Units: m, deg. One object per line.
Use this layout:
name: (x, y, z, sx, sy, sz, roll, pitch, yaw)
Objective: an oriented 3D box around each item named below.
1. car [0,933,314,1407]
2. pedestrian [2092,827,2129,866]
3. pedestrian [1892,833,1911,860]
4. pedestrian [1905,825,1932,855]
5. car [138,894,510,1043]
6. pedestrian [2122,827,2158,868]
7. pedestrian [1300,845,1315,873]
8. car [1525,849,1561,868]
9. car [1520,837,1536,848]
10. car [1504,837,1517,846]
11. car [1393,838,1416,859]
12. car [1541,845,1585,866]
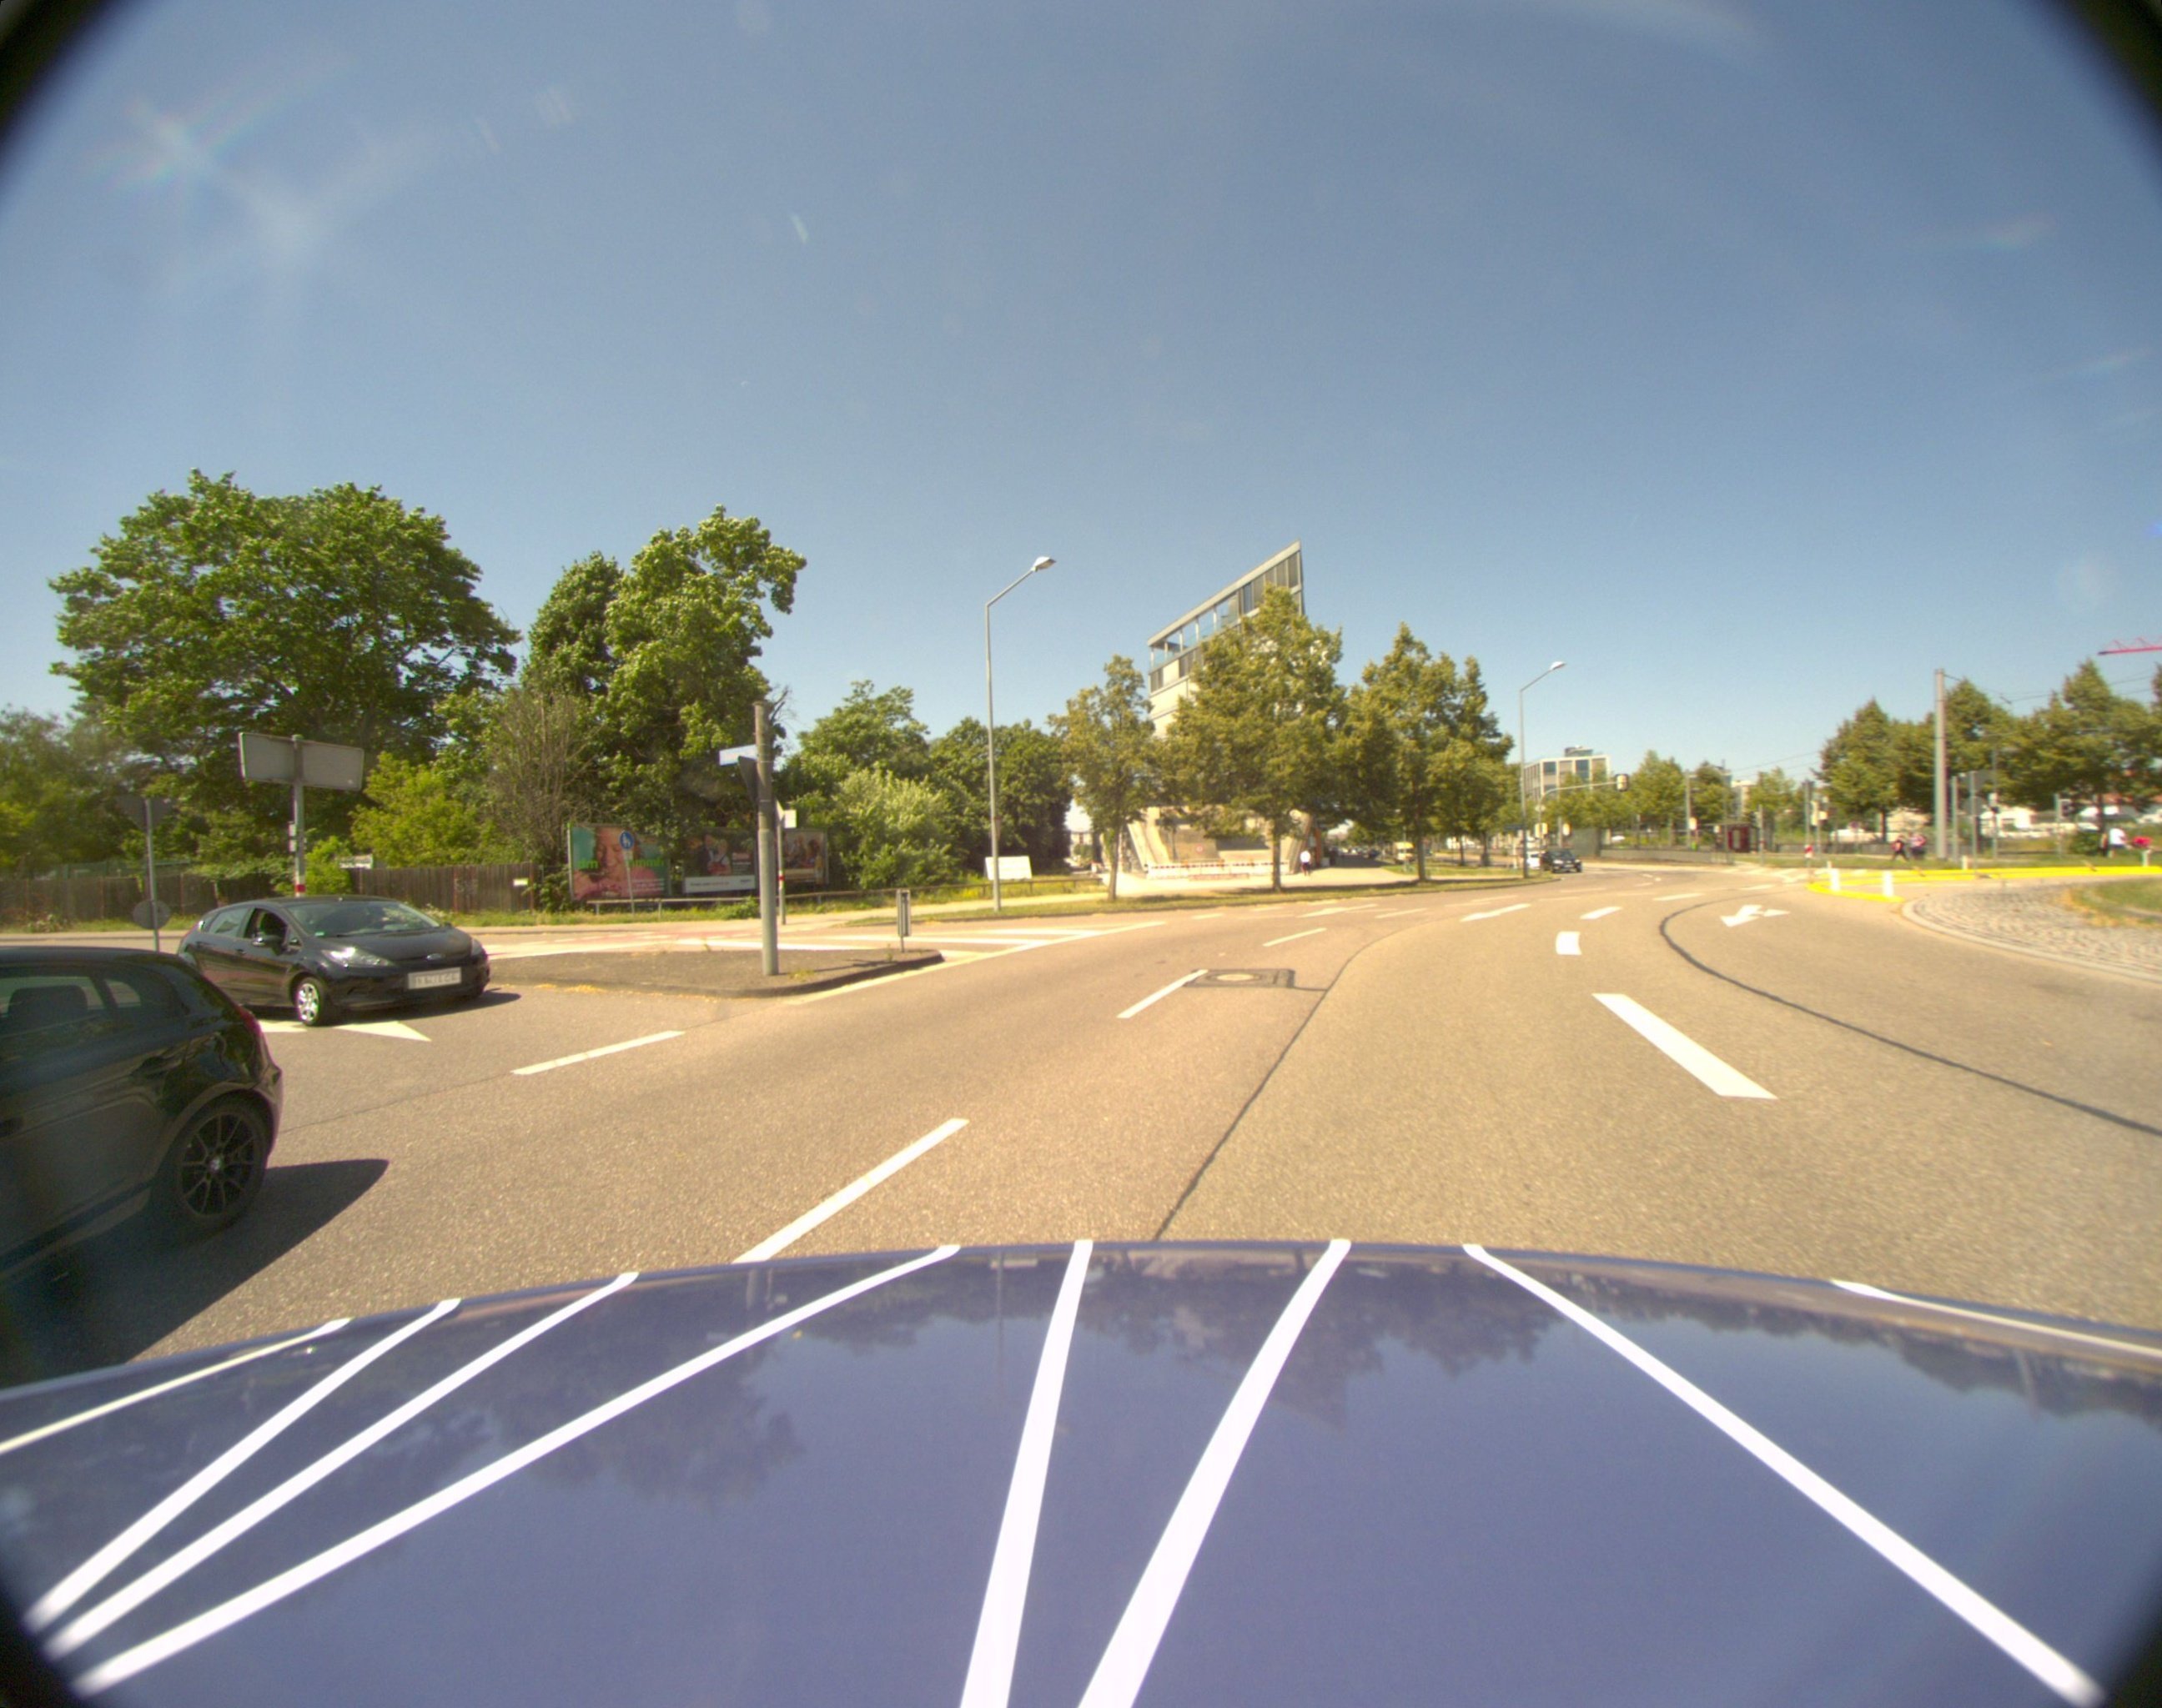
car: (-4.321, 1.145, 1.723, 1.804, 1.432, 3.995, -3, 0, -15)
pedestrian: (50.814, -0.369, 37.506, 0.812, 1.888, 0.733, 0, 3, 29)
pedestrian: (44.515, -0.404, 41.231, 0.596, 1.398, 0.544, -2, 1, 37)
pedestrian: (46.238, -0.766, 41.965, 0.759, 1.631, 0.782, 0, 3, 30)
car: (-9.344, 1.318, 9.436, 3.811, 1.499, 1.636, -2, 0, 17)
pedestrian: (51.627, -0.320, 37.060, 0.744, 2.002, 0.733, 0, 3, 29)
pedestrian: (15.358, 0.338, 51.551, 0.832, 1.858, 0.612, 0, 3, 31)
car: (33.511, 0.287, 55.210, 1.573, 1.218, 3.327, -1, 2, 20)
car: (94.236, -2.443, 160.102, 1.996, 2.002, 3.905, -1, 2, 16)
car: (101.739, -2.947, 180.016, 1.996, 2.002, 4.004, -1, 2, 19)
car: (39.673, -0.637, 93.352, 1.996, 2.493, 4.004, -2, 0, 15)
car: (31.855, 0.096, 50.297, 1.737, 1.206, 3.570, -1, 2, 20)
